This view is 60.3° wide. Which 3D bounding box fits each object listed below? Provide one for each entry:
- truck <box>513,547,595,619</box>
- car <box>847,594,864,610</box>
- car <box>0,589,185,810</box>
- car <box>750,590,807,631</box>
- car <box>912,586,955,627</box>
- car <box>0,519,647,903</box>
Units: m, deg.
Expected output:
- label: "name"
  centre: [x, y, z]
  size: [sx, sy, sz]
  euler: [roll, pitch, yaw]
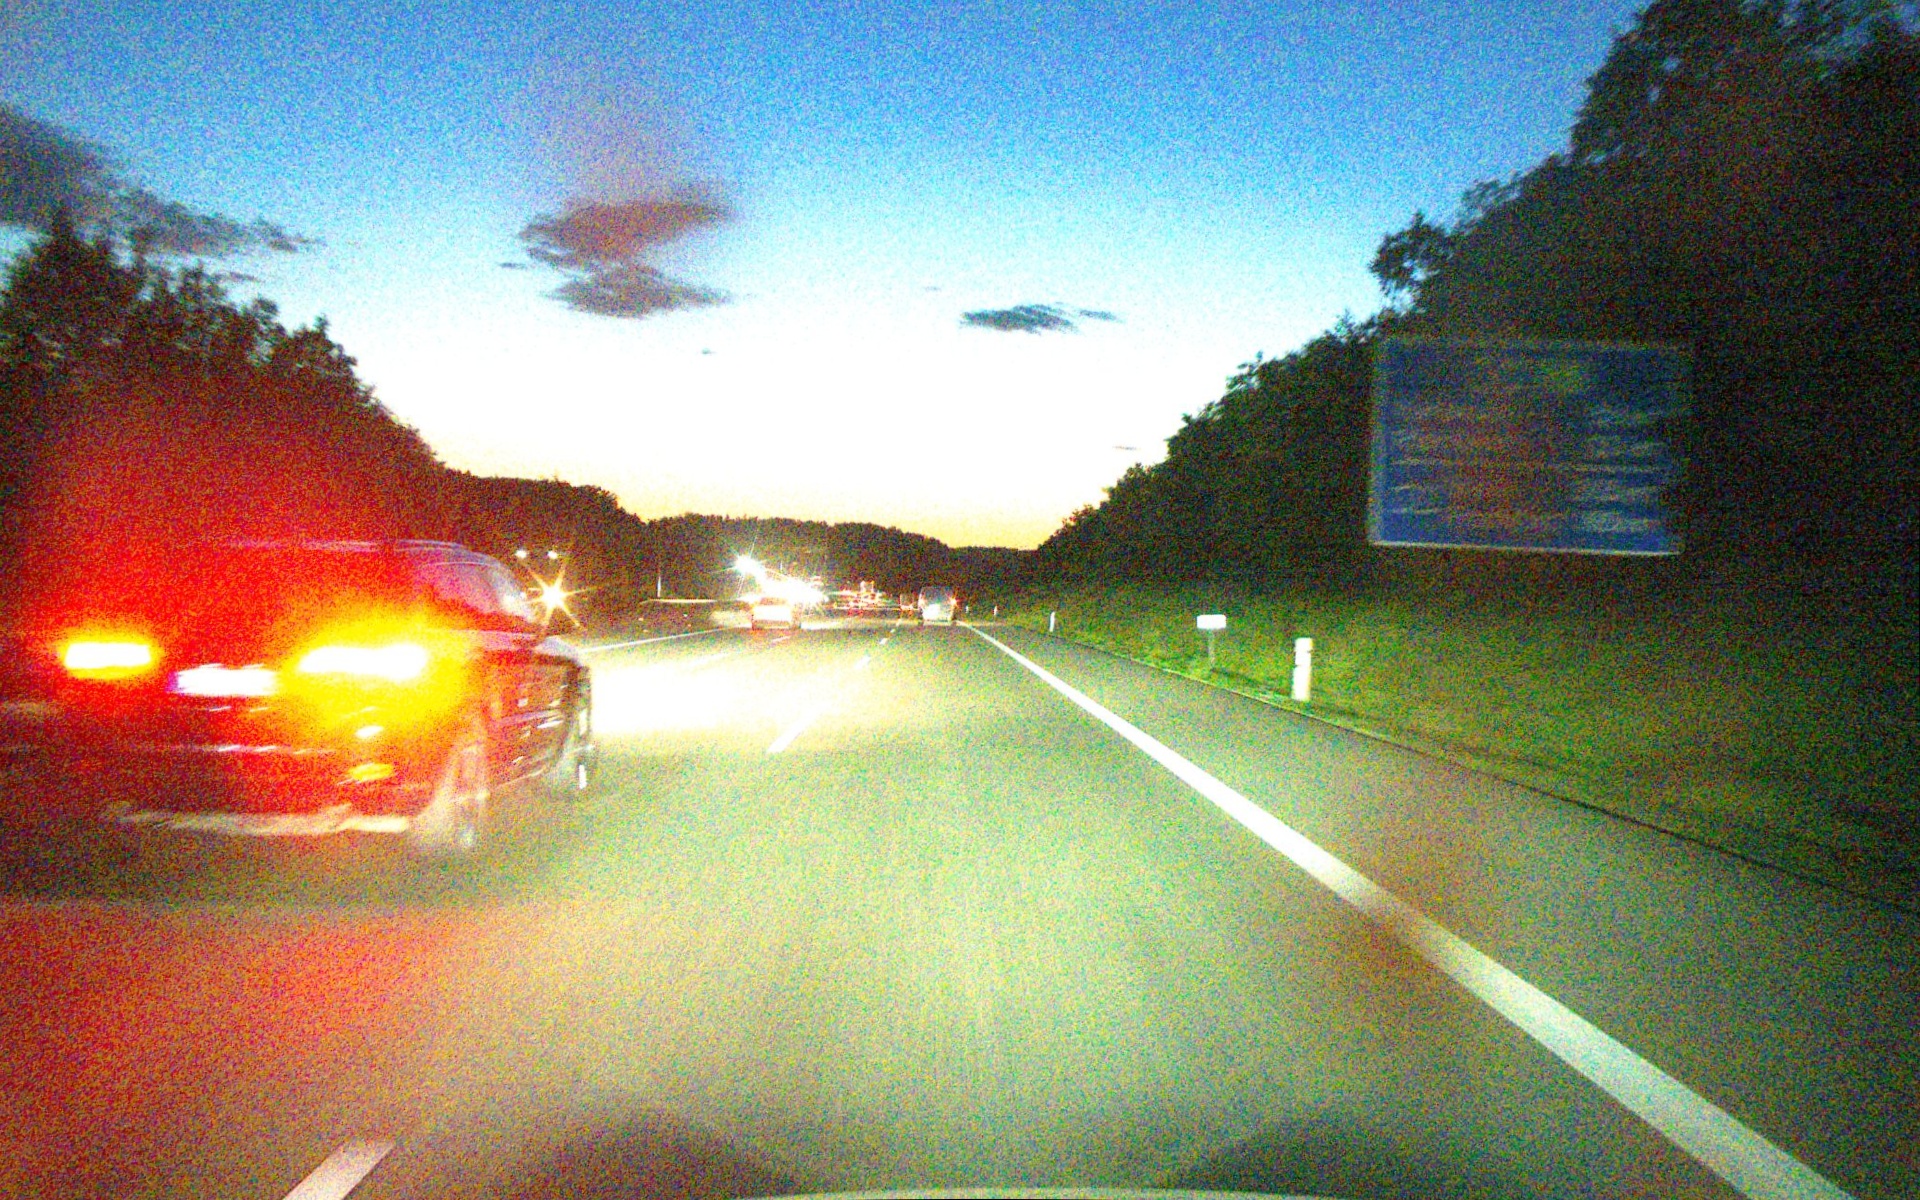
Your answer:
- label: "truck"
  centre: [-23.300, -0.953, 95.324]
  size: [2.468, 3.919, 9.064]
  euler: [1, 0, 0]
- label: "car"
  centre: [-14.833, 0.248, 235.016]
  size: [2.152, 1.989, 4.633]
  euler: [4, 1, 0]
- label: "car"
  centre: [-7.081, 0.652, 10.755]
  size: [1.518, 1.456, 5.513]
  euler: [0, 0, -1]
- label: "car"
  centre: [-7.586, 0.416, 69.406]
  size: [1.743, 1.512, 5.253]
  euler: [4, 1, 0]
- label: "car"
  centre: [-1.384, 0.309, 85.166]
  size: [2.152, 1.989, 4.762]
  euler: [0, 1, -2]
- label: "car"
  centre: [-3.527, 0.519, 10.534]
  size: [1.953, 1.751, 5.942]
  euler: [0, 0, 0]
